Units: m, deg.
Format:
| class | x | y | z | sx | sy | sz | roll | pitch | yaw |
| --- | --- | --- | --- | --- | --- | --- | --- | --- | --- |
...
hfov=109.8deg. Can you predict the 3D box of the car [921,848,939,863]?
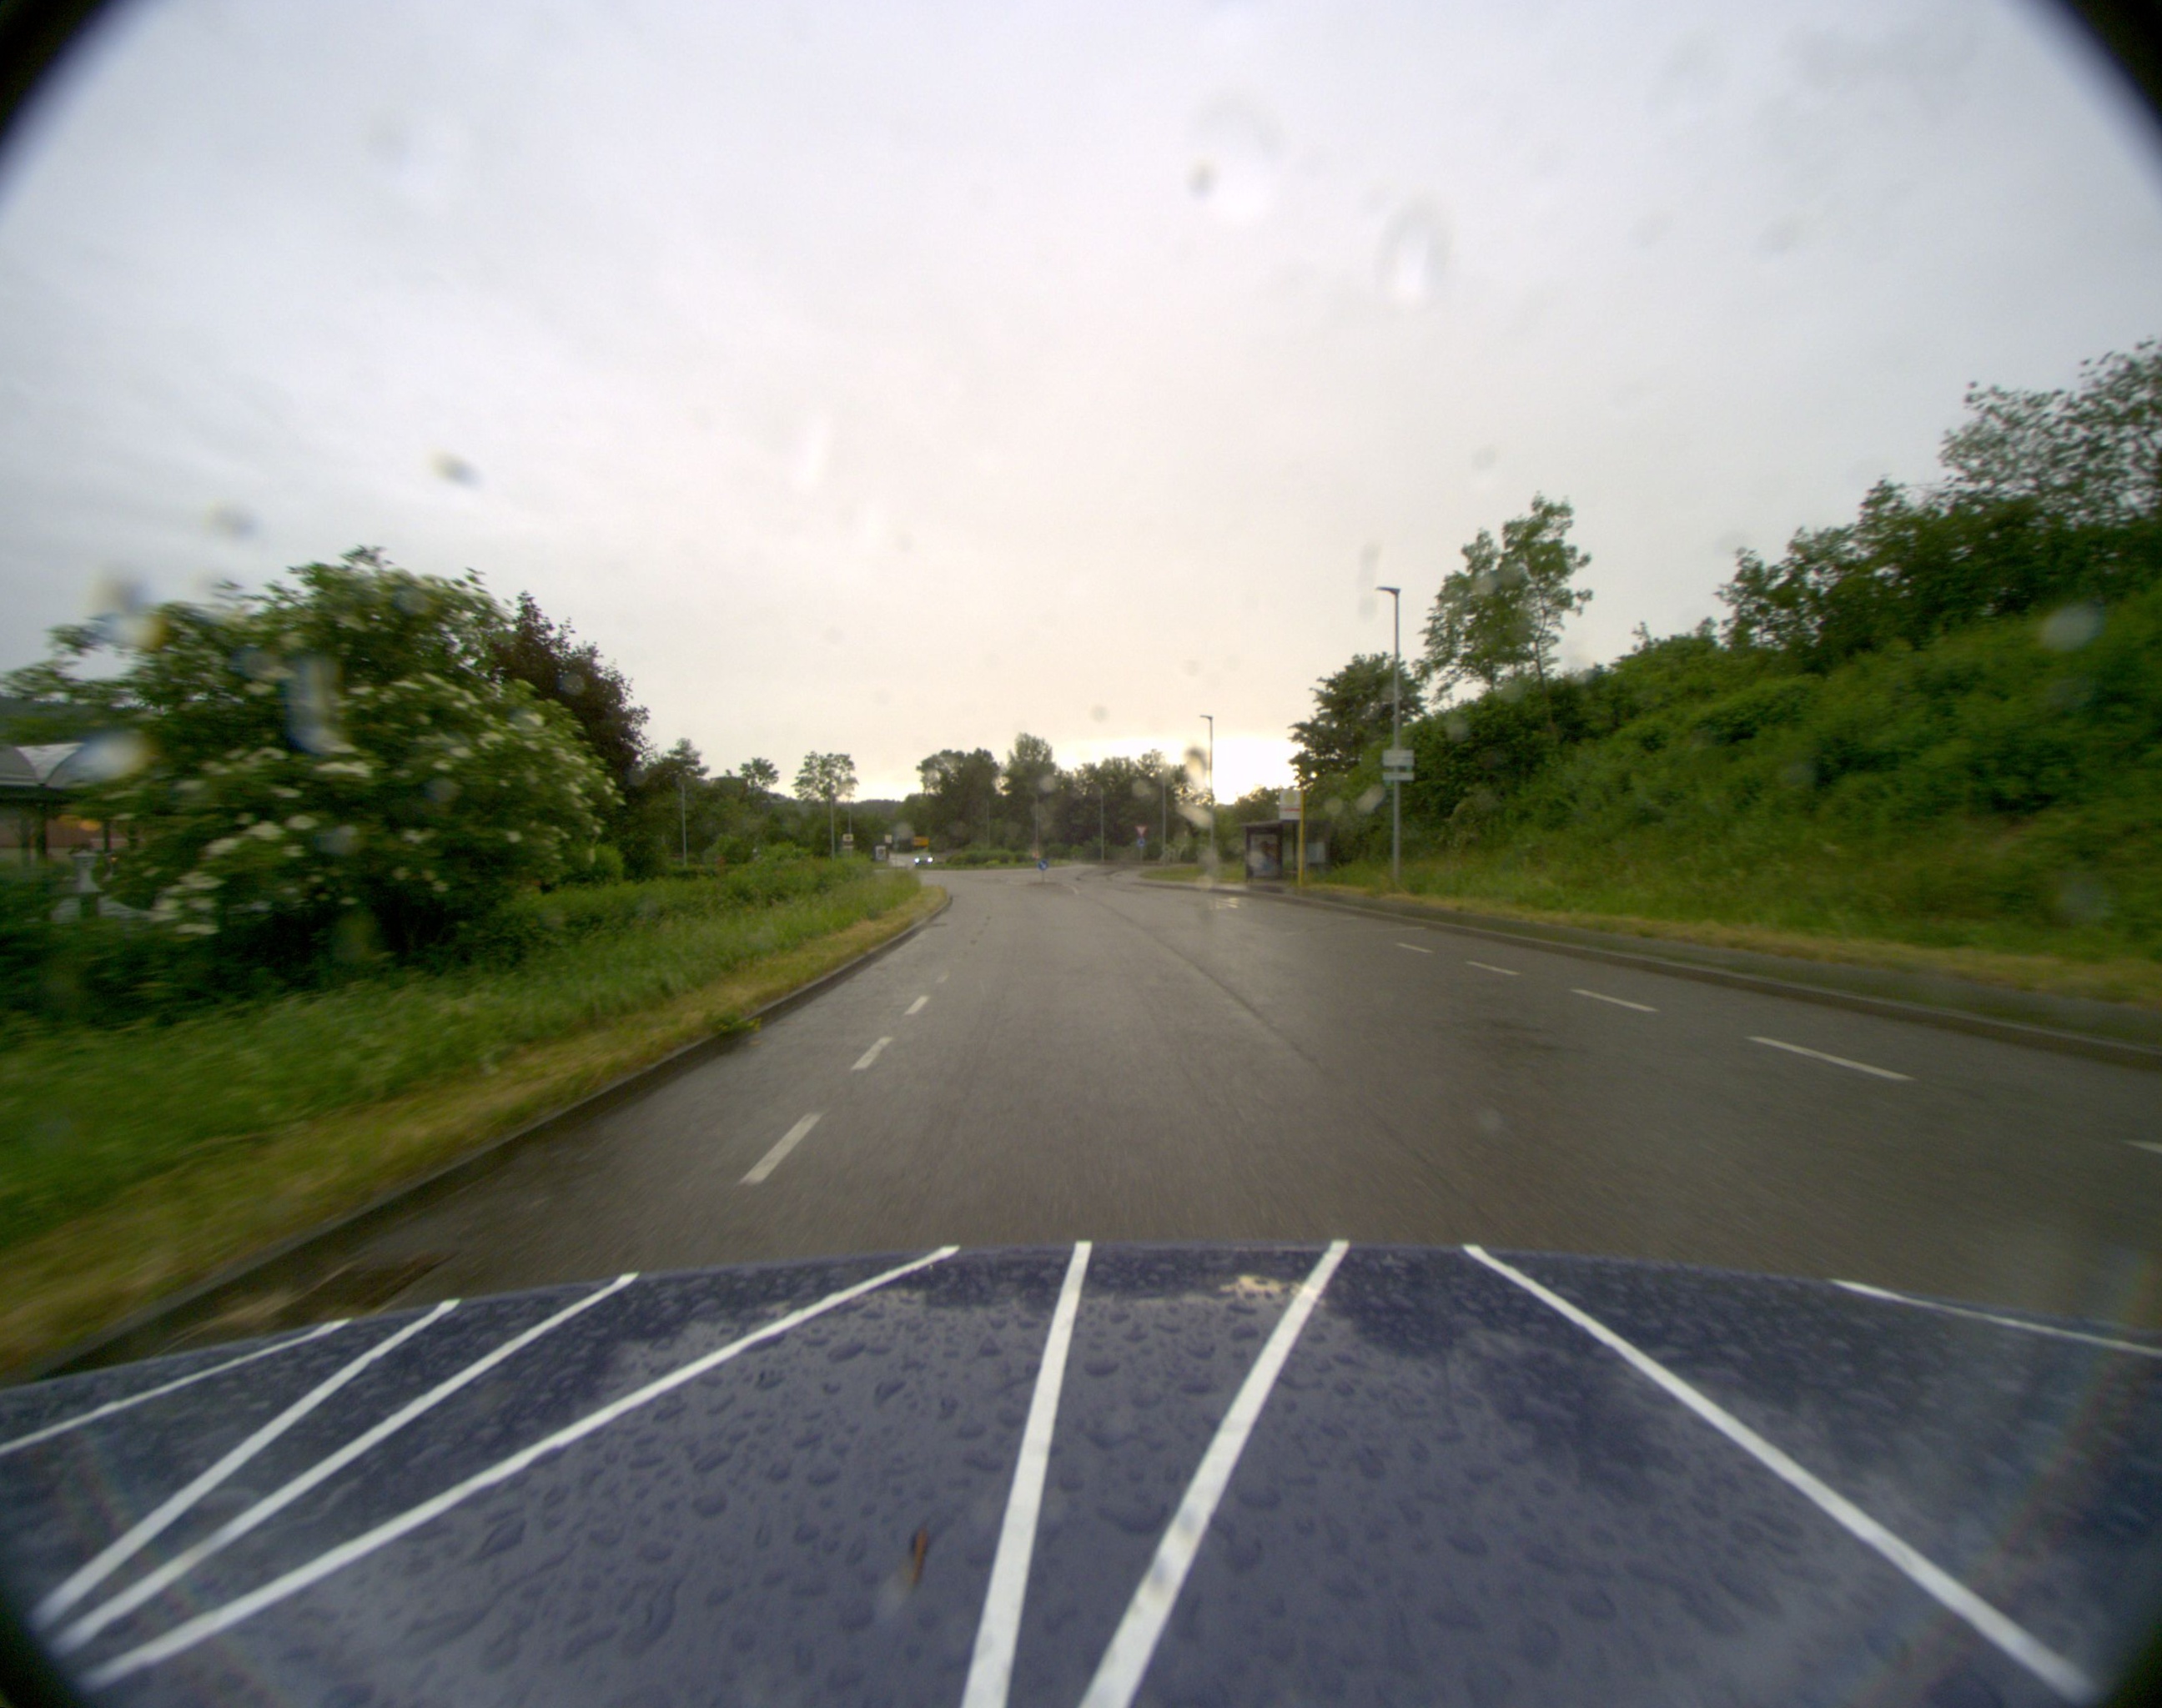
| class | x | y | z | sx | sy | sz | roll | pitch | yaw |
| --- | --- | --- | --- | --- | --- | --- | --- | --- | --- |
| car | -16.352 | 0.176 | 82.367 | 1.881 | 1.596 | 3.995 | 0 | 1 | -11 |
